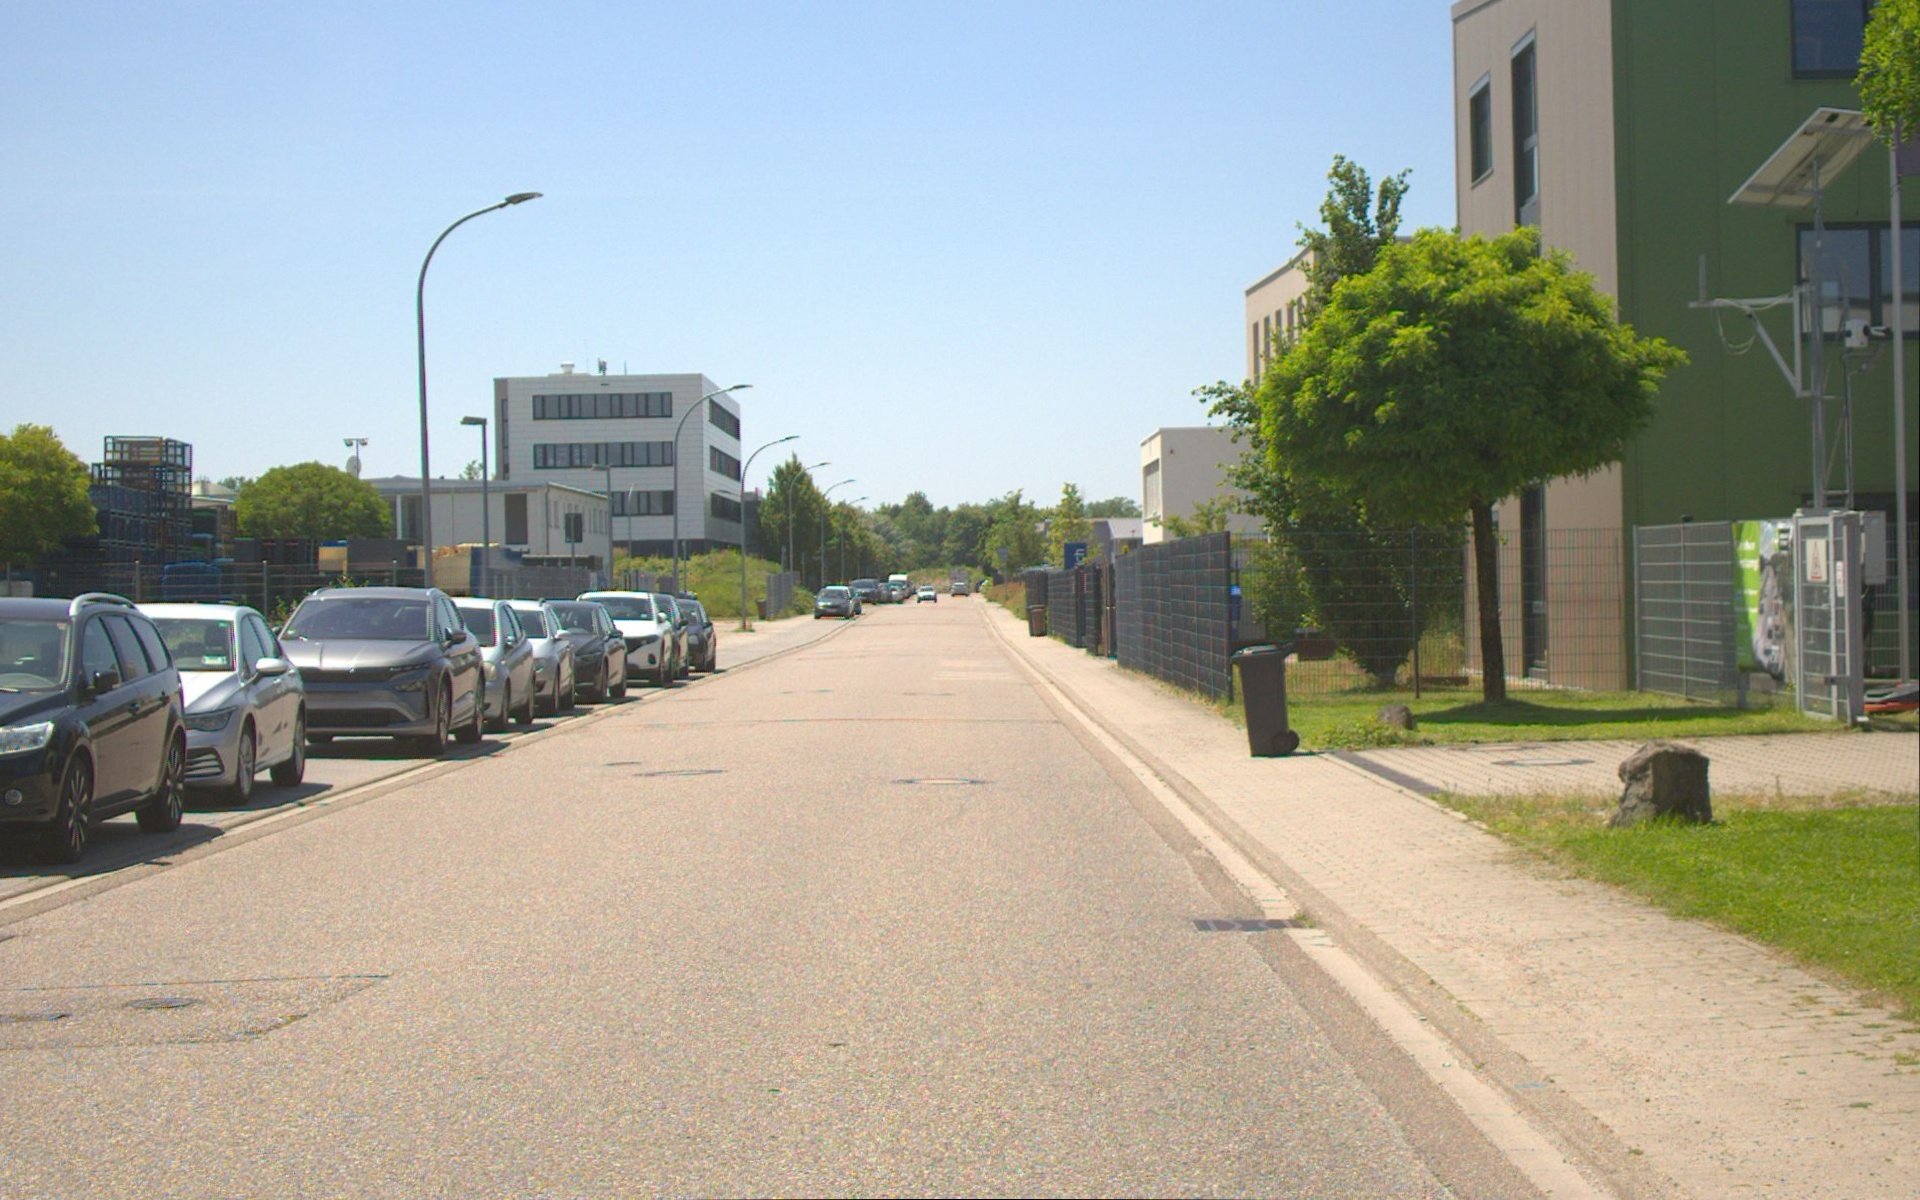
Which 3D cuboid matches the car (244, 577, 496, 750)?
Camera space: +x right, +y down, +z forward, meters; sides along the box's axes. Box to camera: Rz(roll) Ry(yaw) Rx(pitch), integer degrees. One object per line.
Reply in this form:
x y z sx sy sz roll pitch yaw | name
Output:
-5.777 0.579 34.139 1.790 1.601 4.463 0 0 -1 | car

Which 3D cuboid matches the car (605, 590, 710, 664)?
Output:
-6.181 0.533 70.712 1.769 1.456 4.333 0 0 0 | car

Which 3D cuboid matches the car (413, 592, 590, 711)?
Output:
-6.027 0.648 45.676 1.775 1.476 4.816 0 0 -1 | car

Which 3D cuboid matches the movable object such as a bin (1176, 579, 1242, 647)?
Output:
5.477 0.282 75.705 1.334 1.454 0.948 -1 0 0 | movable object such as a bin

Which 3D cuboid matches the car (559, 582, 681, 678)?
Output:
-5.857 0.495 59.693 1.769 1.587 4.360 0 0 -1 | car

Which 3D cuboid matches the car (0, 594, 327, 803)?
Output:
-6.028 0.695 26.365 1.763 1.446 4.201 0 0 -3 | car

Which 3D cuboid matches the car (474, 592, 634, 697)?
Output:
-5.950 0.623 50.778 1.857 1.476 4.229 0 0 0 | car

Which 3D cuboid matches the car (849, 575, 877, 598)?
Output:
-6.219 -0.860 220.434 1.644 1.484 3.207 -1 0 0 | car

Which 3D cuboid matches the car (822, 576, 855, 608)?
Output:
-5.849 -0.401 165.447 1.467 1.484 3.207 -1 0 0 | car

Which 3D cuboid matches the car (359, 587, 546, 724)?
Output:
-5.899 0.610 40.338 1.693 1.520 3.735 0 0 -1 | car

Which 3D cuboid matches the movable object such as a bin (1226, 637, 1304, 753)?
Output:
2.587 0.803 29.142 0.552 0.925 0.521 -4 0 10 | movable object such as a bin

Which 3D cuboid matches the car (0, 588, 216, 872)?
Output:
-5.833 0.695 20.771 1.763 1.512 4.380 0 0 0 | car

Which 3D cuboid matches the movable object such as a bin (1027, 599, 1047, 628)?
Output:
2.636 0.465 117.559 0.552 0.925 0.522 -5 1 4 | movable object such as a bin
